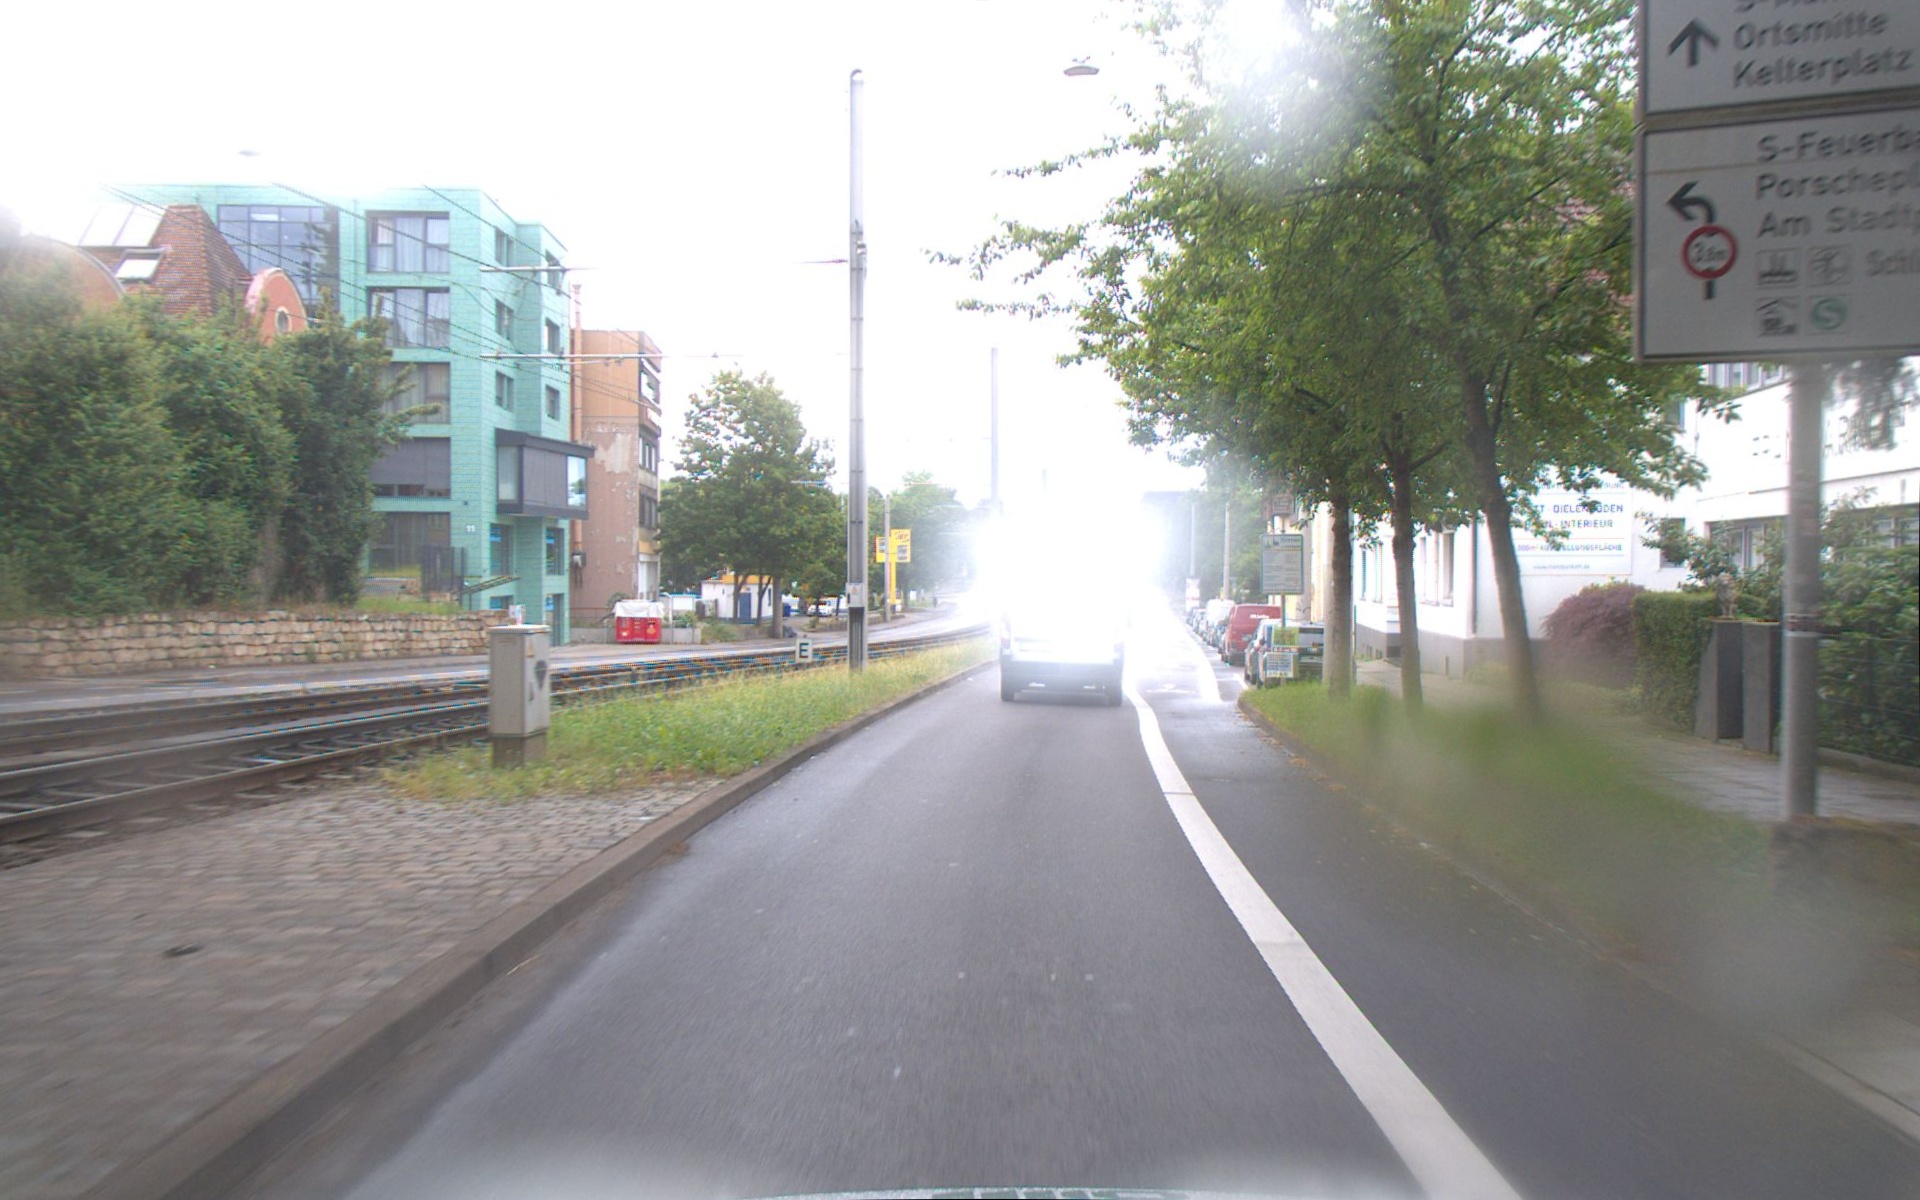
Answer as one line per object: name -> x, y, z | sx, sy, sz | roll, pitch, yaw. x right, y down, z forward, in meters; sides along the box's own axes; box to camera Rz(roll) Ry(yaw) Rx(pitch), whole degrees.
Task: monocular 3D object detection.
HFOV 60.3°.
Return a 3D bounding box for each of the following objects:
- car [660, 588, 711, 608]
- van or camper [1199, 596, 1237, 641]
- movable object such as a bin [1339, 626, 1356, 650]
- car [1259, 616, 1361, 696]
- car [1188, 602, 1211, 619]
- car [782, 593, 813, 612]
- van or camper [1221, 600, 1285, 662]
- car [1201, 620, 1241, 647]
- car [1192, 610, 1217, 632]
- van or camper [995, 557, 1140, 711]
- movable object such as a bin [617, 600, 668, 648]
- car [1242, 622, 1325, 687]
car -> -21.122, -0.176, 127.170 | 3.708, 1.479, 1.543 | 1, 0, -20
van or camper -> 15.992, 1.101, 102.678 | 1.951, 2.608, 6.047 | 2, 1, 6
movable object such as a bin -> 14.766, 1.458, 62.997 | 0.574, 0.895, 0.448 | 0, -1, 5
car -> 6.938, 1.074, 33.155 | 1.641, 1.448, 4.568 | 1, 0, 8
car -> 22.138, 0.979, 152.872 | 1.808, 1.526, 3.956 | 2, 0, 5
car -> -13.966, 0.214, 142.426 | 1.952, 1.467, 4.002 | 2, 0, 4
van or camper -> 9.680, 1.004, 54.970 | 1.811, 1.954, 4.998 | 0, -1, 7
car -> 15.148, 1.923, 96.062 | 1.751, 1.430, 4.554 | 2, 0, 3
car -> 18.257, 1.545, 123.638 | 1.611, 1.471, 3.957 | 2, 1, 6
van or camper -> 1.778, 0.542, 27.945 | 2.153, 2.292, 4.685 | 2, 0, 3
movable object such as a bin -> -15.502, 1.177, 80.804 | 2.091, 2.194, 1.802 | 2, 1, -2
car -> 7.656, 1.250, 39.428 | 1.675, 1.437, 4.568 | 1, -1, 8
